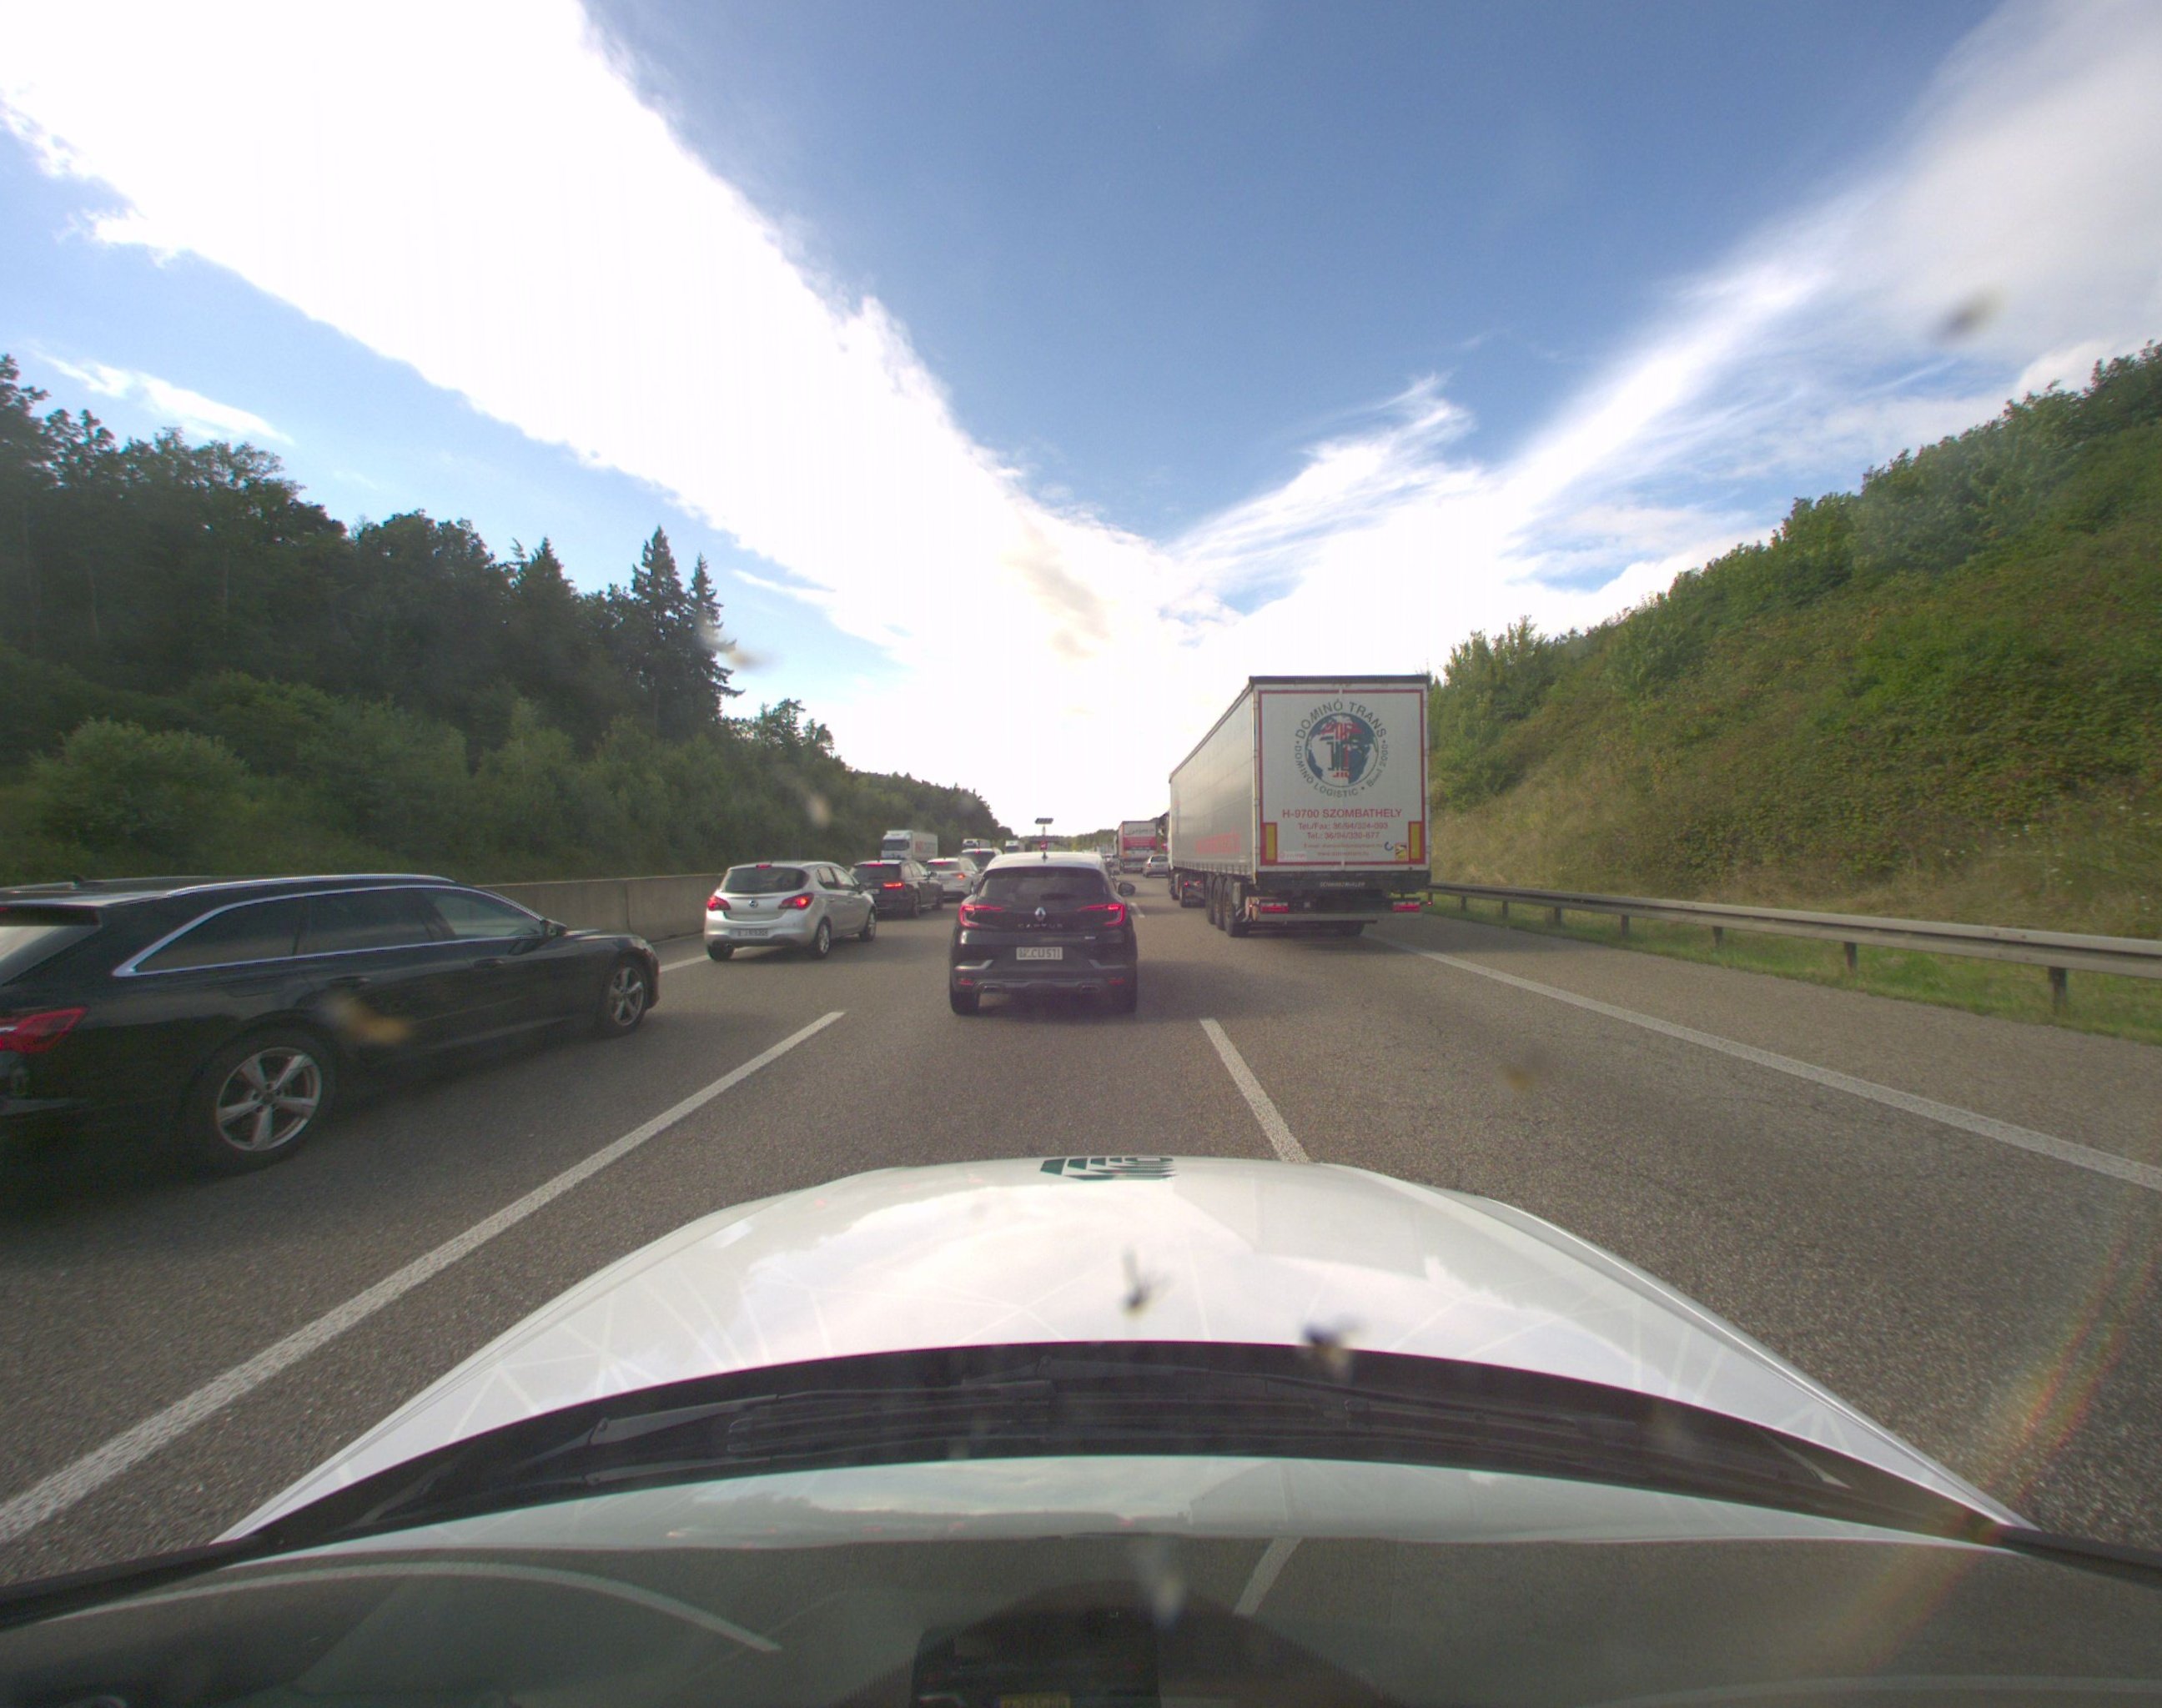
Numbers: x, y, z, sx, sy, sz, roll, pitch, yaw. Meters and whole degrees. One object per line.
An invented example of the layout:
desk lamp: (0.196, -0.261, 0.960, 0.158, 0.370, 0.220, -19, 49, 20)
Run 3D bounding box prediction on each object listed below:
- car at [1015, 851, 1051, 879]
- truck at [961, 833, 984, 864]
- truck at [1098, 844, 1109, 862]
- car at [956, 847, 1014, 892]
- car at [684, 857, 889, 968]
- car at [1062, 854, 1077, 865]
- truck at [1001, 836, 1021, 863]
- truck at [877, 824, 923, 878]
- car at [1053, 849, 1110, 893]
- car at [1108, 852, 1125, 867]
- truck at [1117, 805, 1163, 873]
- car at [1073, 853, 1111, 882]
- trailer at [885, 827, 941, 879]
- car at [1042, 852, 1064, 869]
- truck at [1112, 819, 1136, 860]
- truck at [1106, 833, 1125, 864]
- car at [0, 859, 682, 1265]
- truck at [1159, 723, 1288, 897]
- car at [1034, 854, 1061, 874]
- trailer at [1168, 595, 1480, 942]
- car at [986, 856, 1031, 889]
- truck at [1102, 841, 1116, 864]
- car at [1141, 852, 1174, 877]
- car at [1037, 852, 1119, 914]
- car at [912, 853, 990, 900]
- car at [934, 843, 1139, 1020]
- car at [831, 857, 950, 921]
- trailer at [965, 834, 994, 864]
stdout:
car: (-3.079, 0.721, 53.519, 1.986, 1.722, 4.002, 0, -1, 2)
truck: (-17.232, -0.860, 129.655, 2.921, 4.859, 4.766, 0, -1, 1)
truck: (7.124, -0.169, 258.593, 3.154, 5.505, 12.743, 0, -1, 2)
car: (-4.043, 0.650, 35.033, 1.905, 1.789, 4.417, 0, -1, 0)
car: (-4.538, 0.809, 13.245, 1.740, 1.465, 4.042, -1, 0, 1)
car: (-1.707, 0.760, 118.444, 1.986, 1.613, 4.002, -1, 0, 2)
truck: (-13.206, -0.835, 154.812, 3.077, 5.101, 7.142, 0, -1, 1)
truck: (-18.299, -0.300, 82.825, 3.028, 5.253, 6.884, 0, -1, 1)
car: (0.090, 0.615, 30.193, 1.986, 1.514, 4.002, 0, -1, 2)
car: (4.112, 0.639, 94.440, 1.986, 1.613, 4.002, -1, 0, 2)
truck: (4.634, -1.033, 66.782, 3.352, 5.044, 12.743, 0, -1, 2)
car: (0.668, 0.738, 44.998, 1.986, 1.514, 4.002, 0, -1, 2)
trailer: (-18.150, -0.019, 89.228, 3.031, 5.281, 13.837, 0, -1, 1)
car: (-2.855, 0.657, 83.256, 1.986, 1.613, 4.002, -1, 0, 2)
truck: (6.078, -1.870, 115.768, 3.154, 5.505, 12.743, 0, -1, 2)
truck: (6.596, -0.989, 153.766, 3.153, 5.505, 12.749, 0, -1, 4)
car: (-4.847, 0.791, 5.357, 1.875, 1.471, 4.855, 0, 0, 2)
truck: (4.134, -1.180, 24.963, 2.986, 4.667, 5.940, -1, 0, 1)
car: (-2.810, 0.852, 69.102, 1.986, 1.613, 4.002, 0, -1, 2)
trailer: (3.990, -1.163, 17.630, 2.991, 4.661, 13.292, -1, 0, 1)
car: (-3.815, 0.951, 43.339, 1.848, 1.641, 3.928, 0, -1, 2)
truck: (6.561, -0.221, 188.227, 3.154, 5.159, 12.743, 0, -1, 2)
car: (4.864, 0.686, 52.036, 1.798, 1.533, 3.925, 0, -1, 0)
car: (0.003, 0.729, 21.867, 1.986, 1.514, 4.002, 0, -1, 2)
car: (-4.359, 0.721, 27.924, 1.797, 1.461, 4.311, -1, 0, 3)
car: (-0.266, 0.695, 9.200, 1.797, 1.552, 4.004, -1, 0, 4)
car: (-4.788, 0.813, 21.198, 1.836, 1.456, 4.750, 0, 0, 2)
trailer: (-17.058, -0.783, 137.983, 2.916, 4.830, 14.656, 0, -1, 1)
